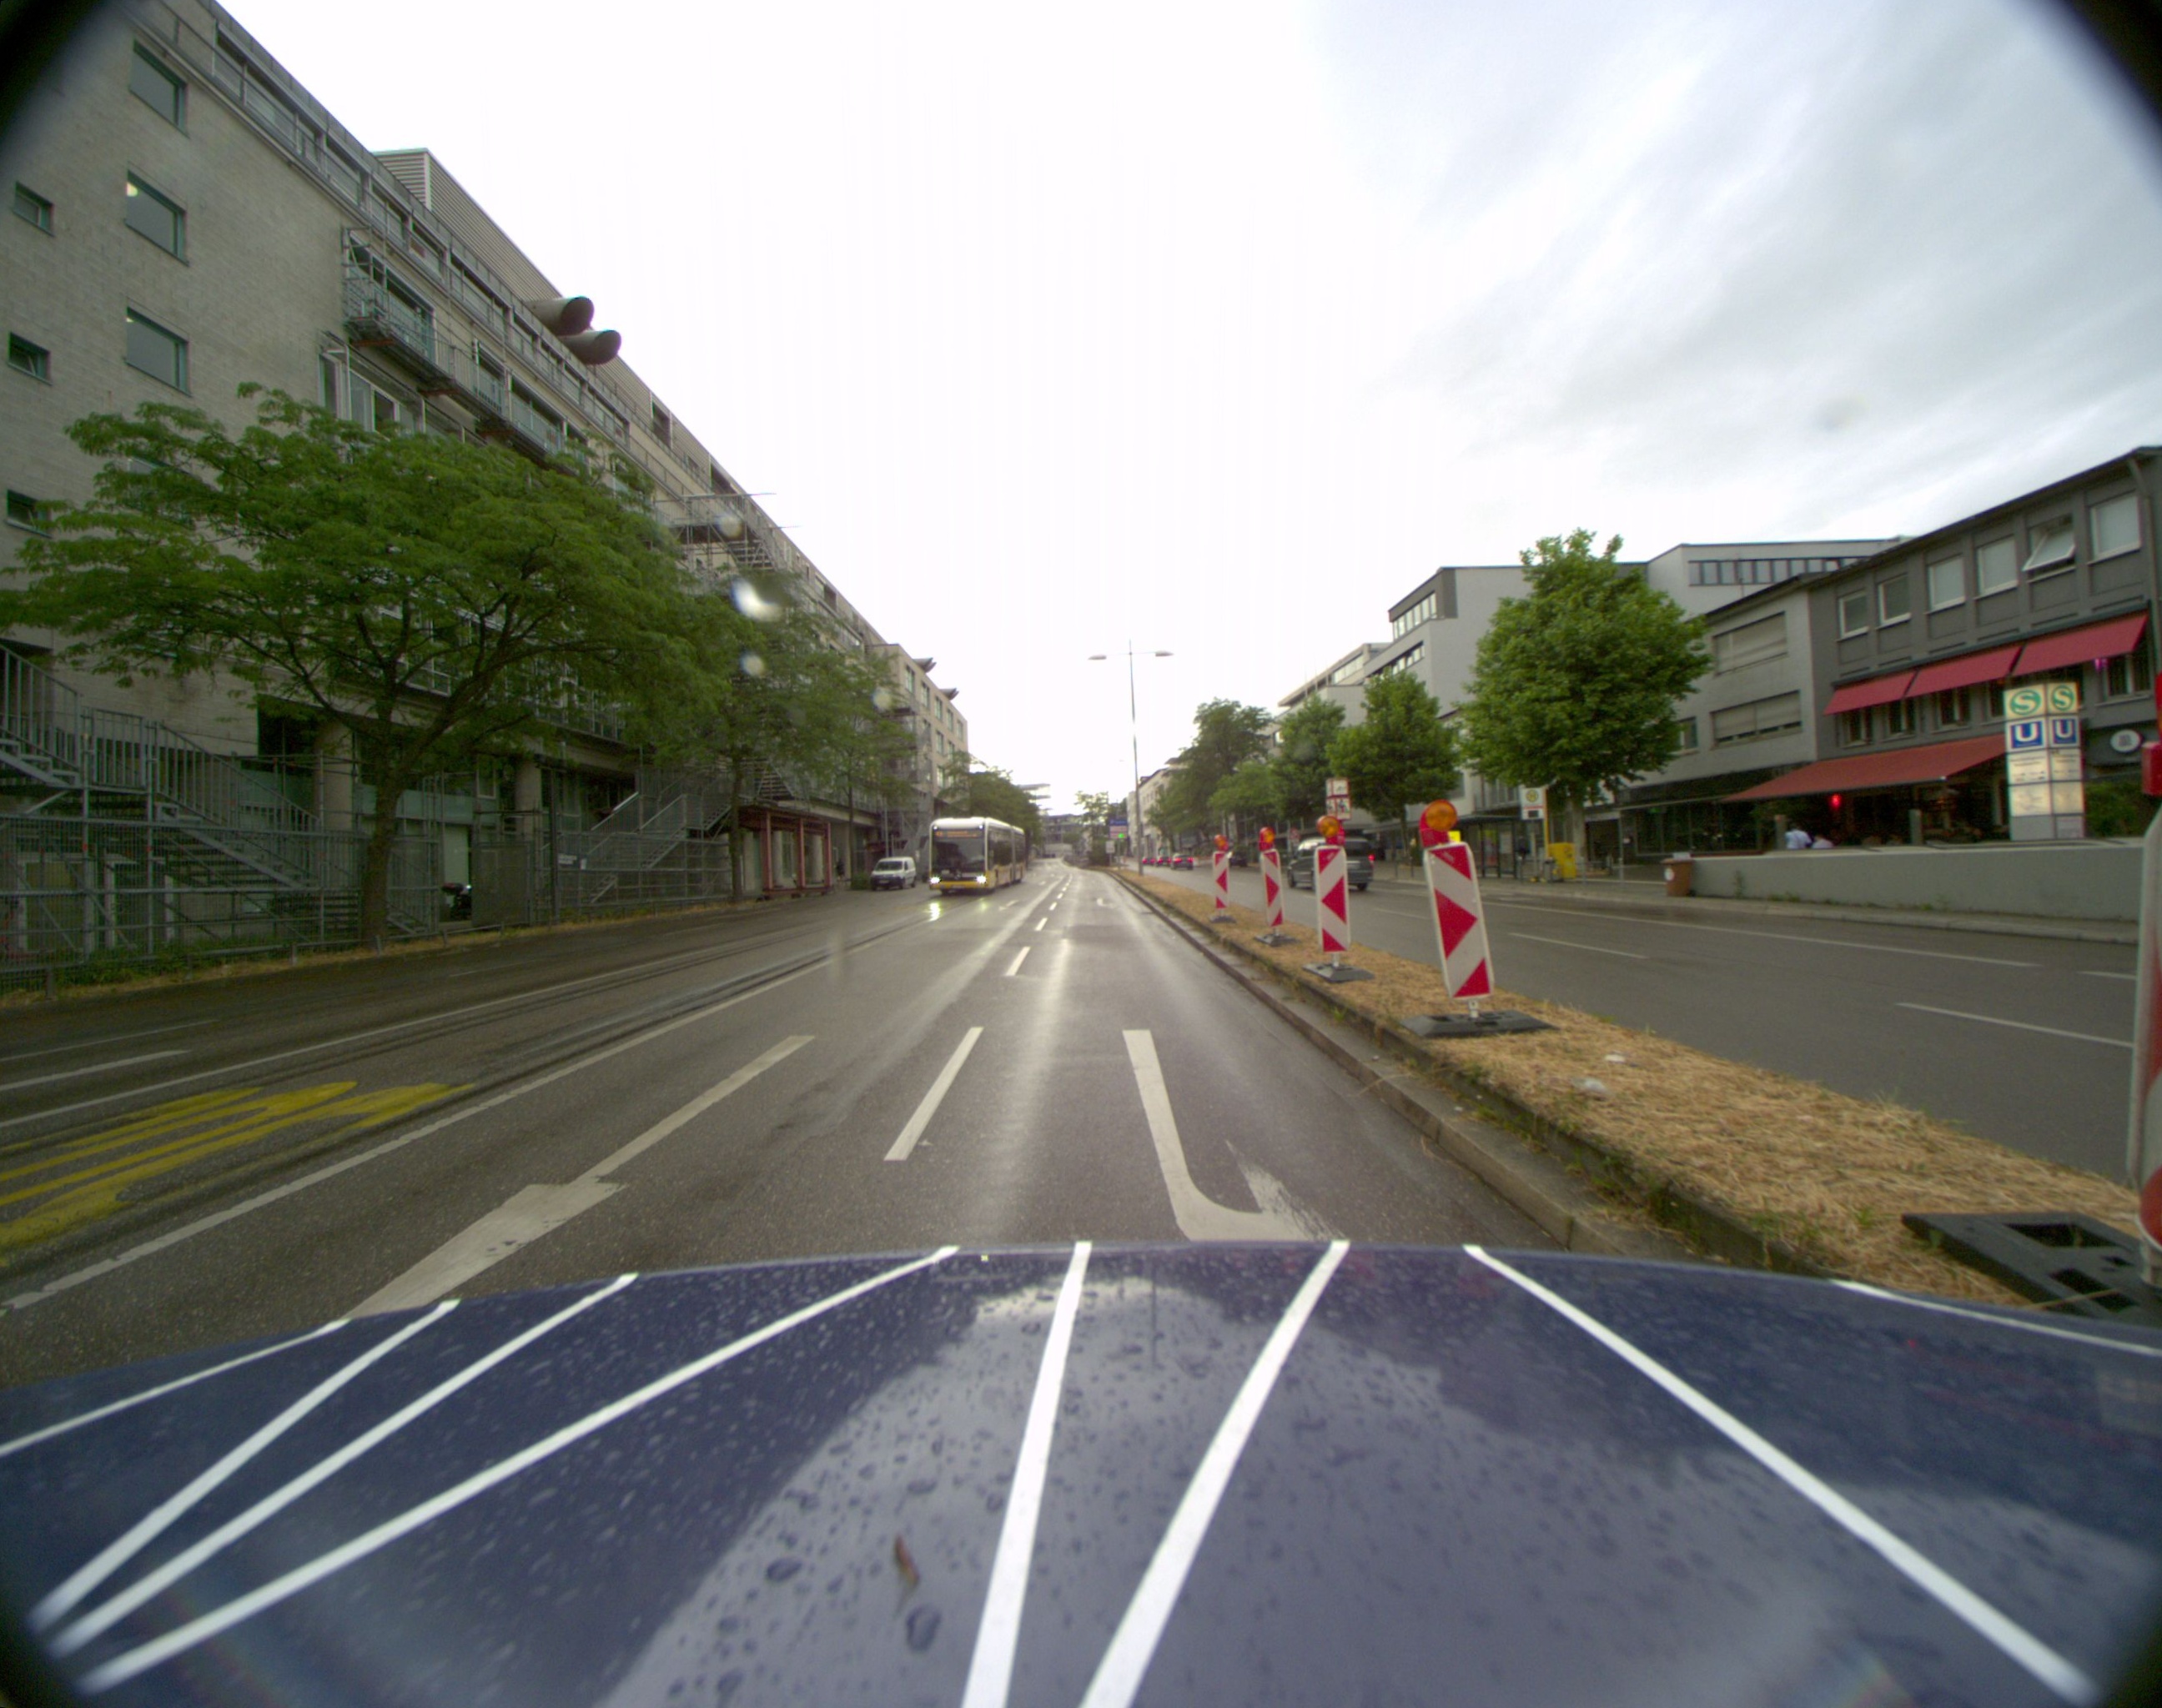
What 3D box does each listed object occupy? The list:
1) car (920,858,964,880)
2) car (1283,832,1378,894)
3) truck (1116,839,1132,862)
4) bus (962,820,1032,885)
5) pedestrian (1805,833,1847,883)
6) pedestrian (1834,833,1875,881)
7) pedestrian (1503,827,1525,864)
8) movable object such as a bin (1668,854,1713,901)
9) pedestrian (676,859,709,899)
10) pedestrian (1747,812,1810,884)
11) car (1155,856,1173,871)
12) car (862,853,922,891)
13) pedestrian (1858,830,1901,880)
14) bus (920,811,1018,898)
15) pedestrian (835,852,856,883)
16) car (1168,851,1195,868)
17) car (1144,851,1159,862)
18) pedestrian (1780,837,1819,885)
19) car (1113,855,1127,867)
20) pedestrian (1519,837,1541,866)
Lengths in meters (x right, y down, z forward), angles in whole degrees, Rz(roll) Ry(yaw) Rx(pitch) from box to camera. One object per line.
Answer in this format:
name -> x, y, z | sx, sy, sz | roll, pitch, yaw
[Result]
car -> -9.888, 1.033, 54.424 | 2.147, 1.329, 4.816 | -2, 1, 1
car -> 9.209, 0.248, 28.484 | 1.998, 1.917, 4.962 | -2, 3, 2
truck -> 7.113, -0.560, 127.117 | 1.999, 3.557, 7.572 | -2, 0, -2
bus -> -4.848, -0.145, 45.799 | 2.890, 3.420, 9.709 | -2, 1, 1
pedestrian -> 23.256, 0.131, 23.725 | 0.669, 1.520, 0.611 | -2, 1, 3
pedestrian -> 24.941, 0.106, 24.499 | 0.669, 1.520, 0.611 | -2, 1, 4
pedestrian -> 23.928, -0.472, 42.000 | 0.774, 2.002, 0.767 | -2, 1, 8
movable object such as a bin -> 14.565, 0.553, 18.170 | 0.507, 1.094, 0.660 | -2, 1, -2
pedestrian -> -18.196, 1.173, 35.630 | 1.009, 1.789, 0.846 | -2, 1, 0
pedestrian -> 20.386, -0.177, 22.226 | 0.922, 2.002, 0.944 | -2, 1, 0
car -> 10.410, 1.182, 95.419 | 1.691, 1.421, 4.219 | -2, -7, 0
car -> -10.523, 0.941, 42.659 | 2.213, 1.895, 4.329 | -2, 1, 0
pedestrian -> 24.995, 0.035, 23.793 | 0.669, 1.520, 0.611 | -2, 1, 3
bus -> -5.000, -0.035, 36.057 | 2.890, 3.430, 9.756 | -2, 1, 1
pedestrian -> -15.924, 0.900, 51.412 | 1.009, 2.002, 1.039 | -2, 1, 1
car -> 9.078, 0.506, 68.937 | 1.692, 1.501, 4.290 | -2, 0, -3
car -> 10.673, 0.401, 115.870 | 1.692, 1.545, 4.419 | -2, 1, -2
pedestrian -> 23.350, 0.236, 24.703 | 0.669, 1.520, 0.611 | -2, 1, 3
car -> 7.042, 1.196, 137.731 | 1.999, 2.002, 3.999 | -2, 1, -2
pedestrian -> 24.899, -0.162, 42.173 | 0.774, 1.556, 0.767 | -2, 1, 8
